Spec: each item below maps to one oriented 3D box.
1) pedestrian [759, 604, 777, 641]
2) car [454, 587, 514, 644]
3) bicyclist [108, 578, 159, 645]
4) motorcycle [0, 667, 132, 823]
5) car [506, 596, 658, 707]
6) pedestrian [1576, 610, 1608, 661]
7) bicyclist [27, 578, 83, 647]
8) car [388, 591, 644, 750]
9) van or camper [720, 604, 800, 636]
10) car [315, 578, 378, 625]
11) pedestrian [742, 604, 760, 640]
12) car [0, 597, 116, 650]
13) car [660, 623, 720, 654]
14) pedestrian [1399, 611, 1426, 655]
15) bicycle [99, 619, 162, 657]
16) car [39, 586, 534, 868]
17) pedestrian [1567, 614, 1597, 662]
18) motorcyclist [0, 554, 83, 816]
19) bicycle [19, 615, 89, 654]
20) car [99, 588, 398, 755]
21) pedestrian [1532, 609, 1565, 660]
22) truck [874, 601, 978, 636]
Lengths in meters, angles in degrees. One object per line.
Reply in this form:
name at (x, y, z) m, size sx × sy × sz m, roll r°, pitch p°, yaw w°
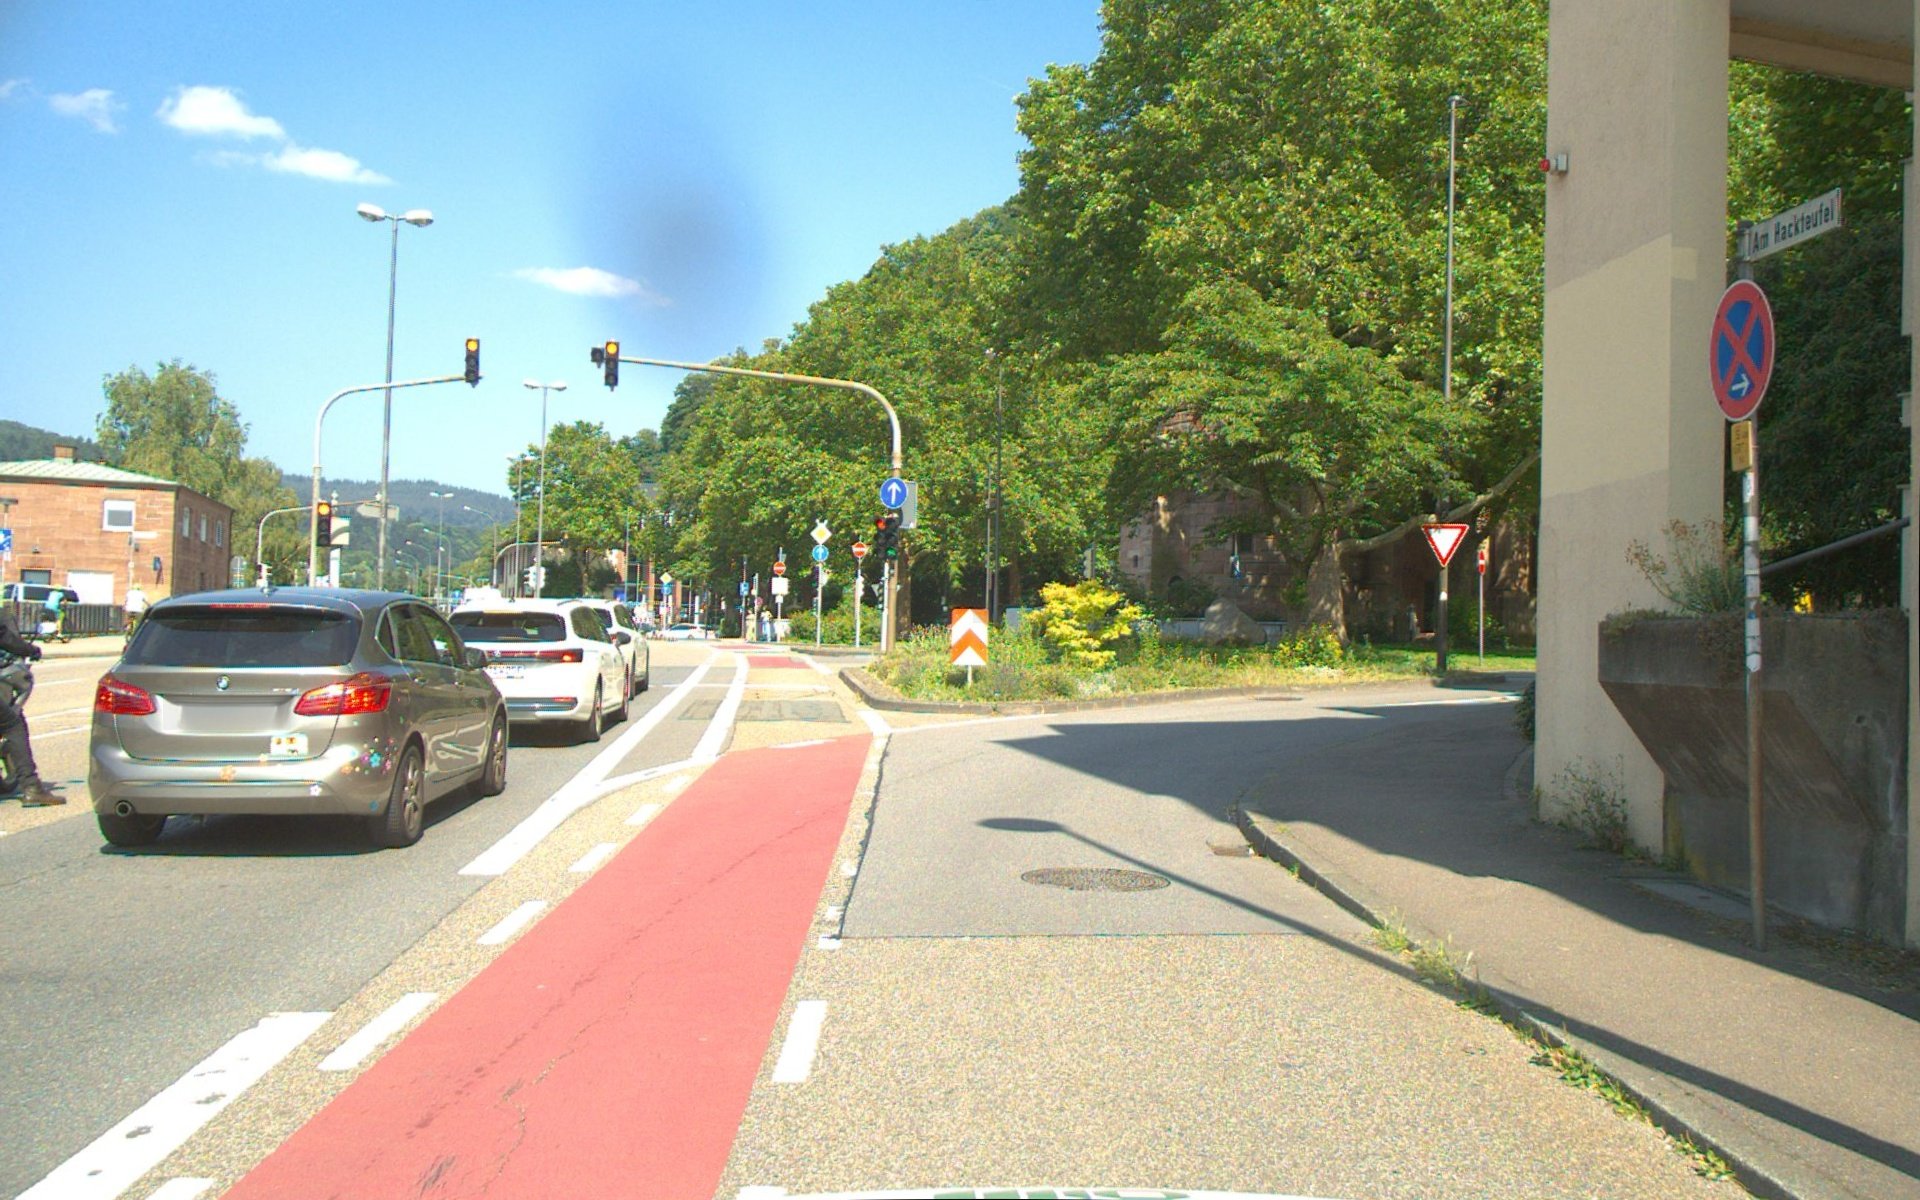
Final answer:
pedestrian at (-9.299, 1.084, 79.949) m, size 0.746 × 1.738 × 0.878 m, roll 0°, pitch 0°, yaw 2°
car at (-22.924, 0.724, 79.487) m, size 2.349 × 2.621 × 6.018 m, roll 0°, pitch 0°, yaw -20°
bicyclist at (-25.688, 0.346, 51.437) m, size 1.192 × 2.049 × 1.114 m, roll 0°, pitch 0°, yaw -14°
motorcycle at (-6.863, 0.991, 11.518) m, size 1.017 × 0.935 × 2.603 m, roll 0°, pitch 0°, yaw -4°
car at (-5.773, 0.744, 25.735) m, size 1.751 × 1.559 × 4.730 m, roll 0°, pitch 0°, yaw -6°
pedestrian at (22.628, 1.255, 59.206) m, size 0.778 × 1.786 × 0.664 m, roll 3°, pitch -1°, yaw -11°
bicyclist at (-26.952, 0.368, 49.263) m, size 1.192 × 2.049 × 1.114 m, roll 0°, pitch 0°, yaw -14°
car at (-4.826, 0.682, 18.702) m, size 1.955 × 1.560 × 4.853 m, roll 0°, pitch 0°, yaw -5°
van or camper at (-12.296, 1.189, 101.830) m, size 4.445 × 1.935 × 2.002 m, roll 0°, pitch 0°, yaw 12°
car at (-28.614, 0.058, 77.323) m, size 2.177 × 2.115 × 5.025 m, roll 0°, pitch 0°, yaw -14°
pedestrian at (-10.115, 1.057, 80.020) m, size 0.746 × 1.749 × 0.795 m, roll 0°, pitch 0°, yaw 2°
car at (-36.733, 0.912, 66.507) m, size 1.965 × 2.049 × 4.588 m, roll 0°, pitch 0°, yaw 43°
car at (-18.951, 2.703, 116.195) m, size 3.915 × 2.049 × 1.938 m, roll 0°, pitch 0°, yaw 33°
pedestrian at (18.658, 1.364, 68.222) m, size 0.778 × 1.813 × 0.873 m, roll 0°, pitch 0°, yaw -11°
bicycle at (-25.647, 1.146, 51.205) m, size 1.192 × 1.109 × 2.588 m, roll 0°, pitch 0°, yaw -14°
car at (-4.281, 0.724, 11.334) m, size 1.851 × 1.548 × 4.302 m, roll 1°, pitch 0°, yaw -4°
pedestrian at (23.495, 1.431, 62.465) m, size 0.778 × 1.786 × 0.664 m, roll 3°, pitch -1°, yaw -11°
motorcyclist at (-6.850, 0.551, 11.366) m, size 1.054 × 1.714 × 1.155 m, roll 0°, pitch 0°, yaw -4°
bicycle at (-26.962, 1.020, 49.287) m, size 1.192 × 1.109 × 2.588 m, roll 0°, pitch 0°, yaw -14°
car at (-7.487, 0.684, 17.851) m, size 1.830 × 1.589 × 3.995 m, roll 0°, pitch 0°, yaw -6°
pedestrian at (21.166, 1.228, 59.493) m, size 0.778 × 1.786 × 0.720 m, roll 3°, pitch -1°, yaw -11°
truck at (-2.124, 1.129, 101.418) m, size 6.133 × 2.049 × 2.161 m, roll 0°, pitch 0°, yaw 29°
